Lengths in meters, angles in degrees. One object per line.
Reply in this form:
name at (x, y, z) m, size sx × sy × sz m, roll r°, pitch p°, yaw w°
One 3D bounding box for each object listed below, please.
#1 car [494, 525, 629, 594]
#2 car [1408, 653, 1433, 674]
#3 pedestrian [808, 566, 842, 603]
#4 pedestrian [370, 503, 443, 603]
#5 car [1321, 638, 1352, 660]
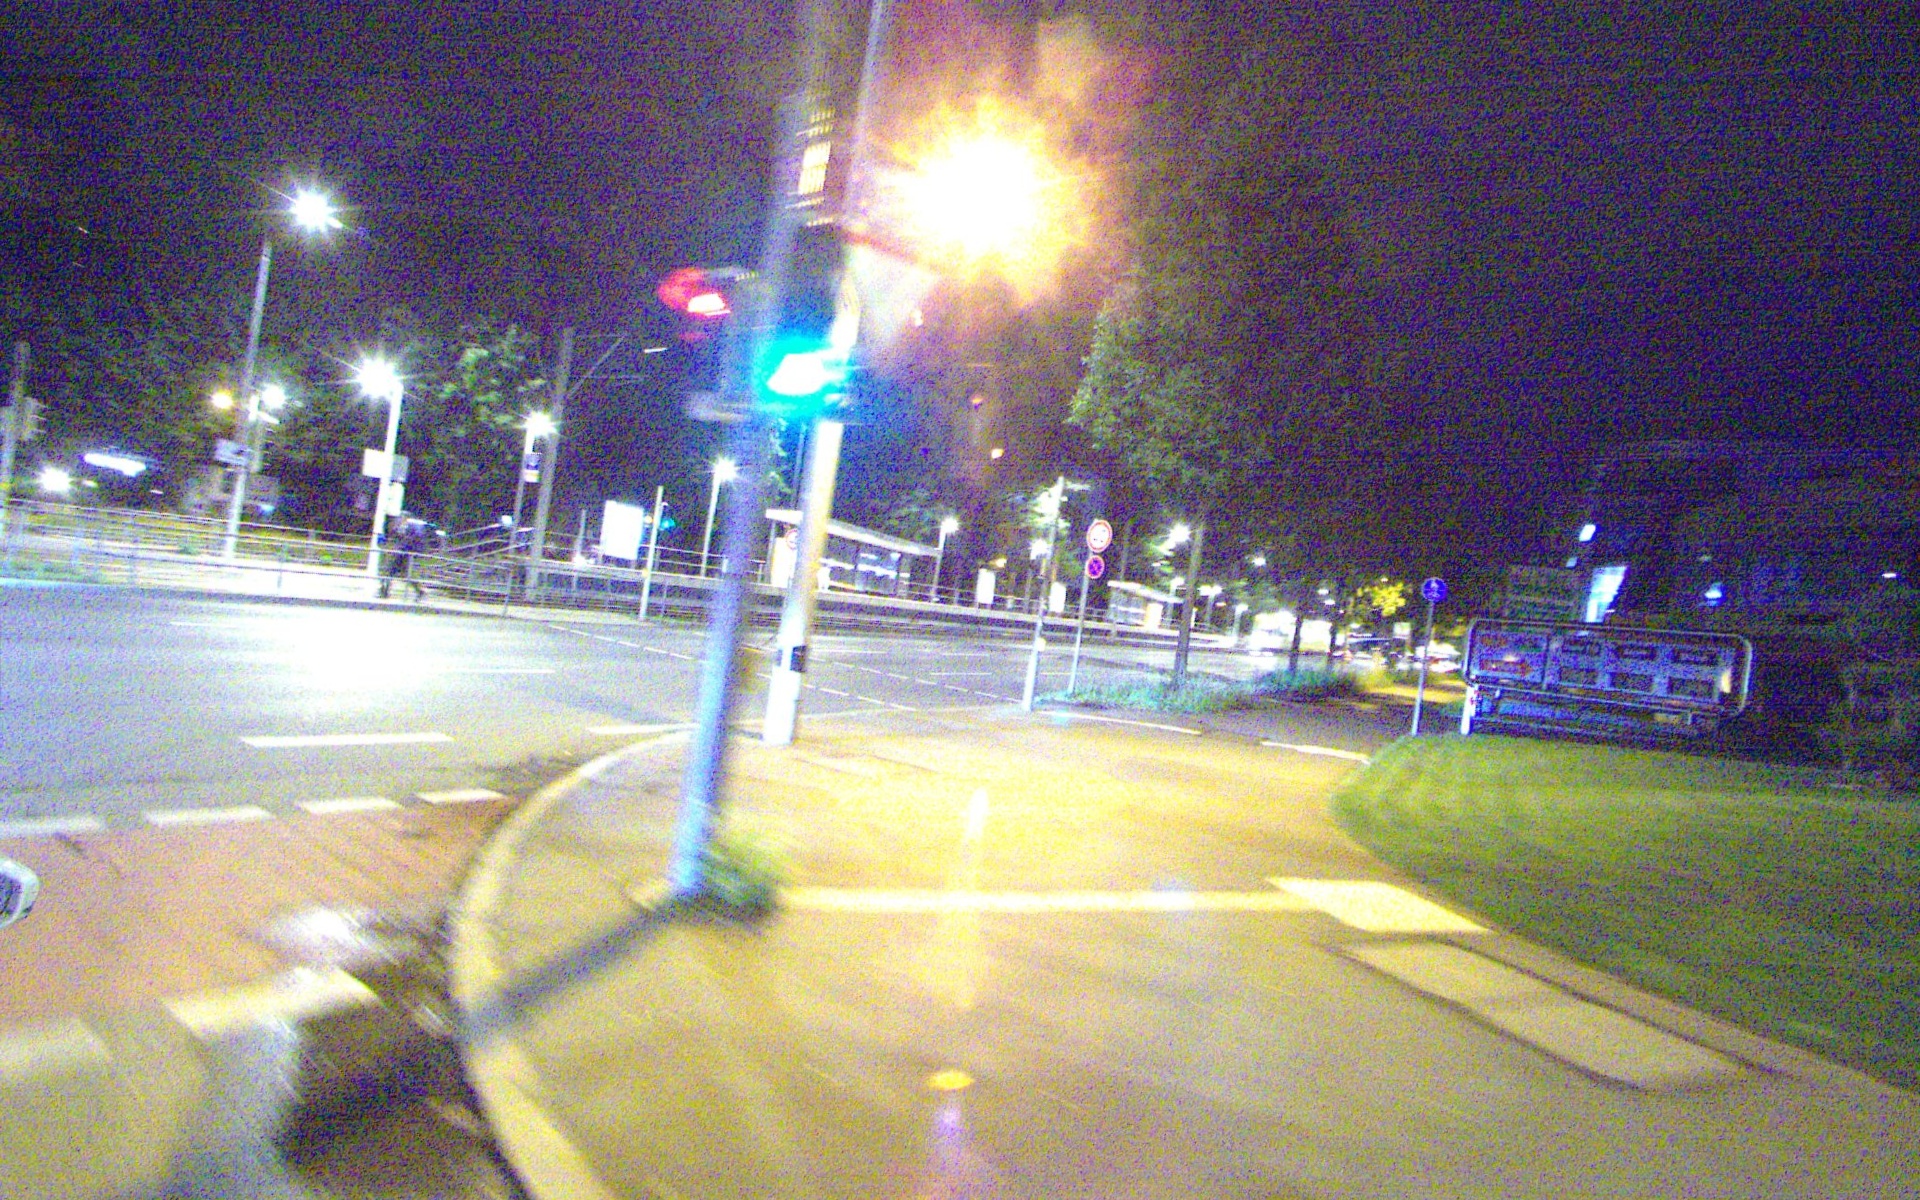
car at (-14.083, -1.413, 35.730) m, size 1.967 × 2.040 × 3.988 m, roll 6°, pitch 1°, yaw 32°
car at (46.301, 6.354, 101.171) m, size 1.779 × 1.684 × 3.990 m, roll 10°, pitch 3°, yaw 29°
pedestrian at (-5.969, -0.684, 44.362) m, size 1.130 × 1.519 × 1.071 m, roll 6°, pitch 0°, yaw -23°
pedestrian at (-10.429, -0.874, 18.957) m, size 0.819 × 1.768 × 0.755 m, roll 8°, pitch 3°, yaw 27°
car at (36.034, 4.719, 96.308) m, size 1.832 × 1.680 × 4.452 m, roll 9°, pitch 1°, yaw 31°
